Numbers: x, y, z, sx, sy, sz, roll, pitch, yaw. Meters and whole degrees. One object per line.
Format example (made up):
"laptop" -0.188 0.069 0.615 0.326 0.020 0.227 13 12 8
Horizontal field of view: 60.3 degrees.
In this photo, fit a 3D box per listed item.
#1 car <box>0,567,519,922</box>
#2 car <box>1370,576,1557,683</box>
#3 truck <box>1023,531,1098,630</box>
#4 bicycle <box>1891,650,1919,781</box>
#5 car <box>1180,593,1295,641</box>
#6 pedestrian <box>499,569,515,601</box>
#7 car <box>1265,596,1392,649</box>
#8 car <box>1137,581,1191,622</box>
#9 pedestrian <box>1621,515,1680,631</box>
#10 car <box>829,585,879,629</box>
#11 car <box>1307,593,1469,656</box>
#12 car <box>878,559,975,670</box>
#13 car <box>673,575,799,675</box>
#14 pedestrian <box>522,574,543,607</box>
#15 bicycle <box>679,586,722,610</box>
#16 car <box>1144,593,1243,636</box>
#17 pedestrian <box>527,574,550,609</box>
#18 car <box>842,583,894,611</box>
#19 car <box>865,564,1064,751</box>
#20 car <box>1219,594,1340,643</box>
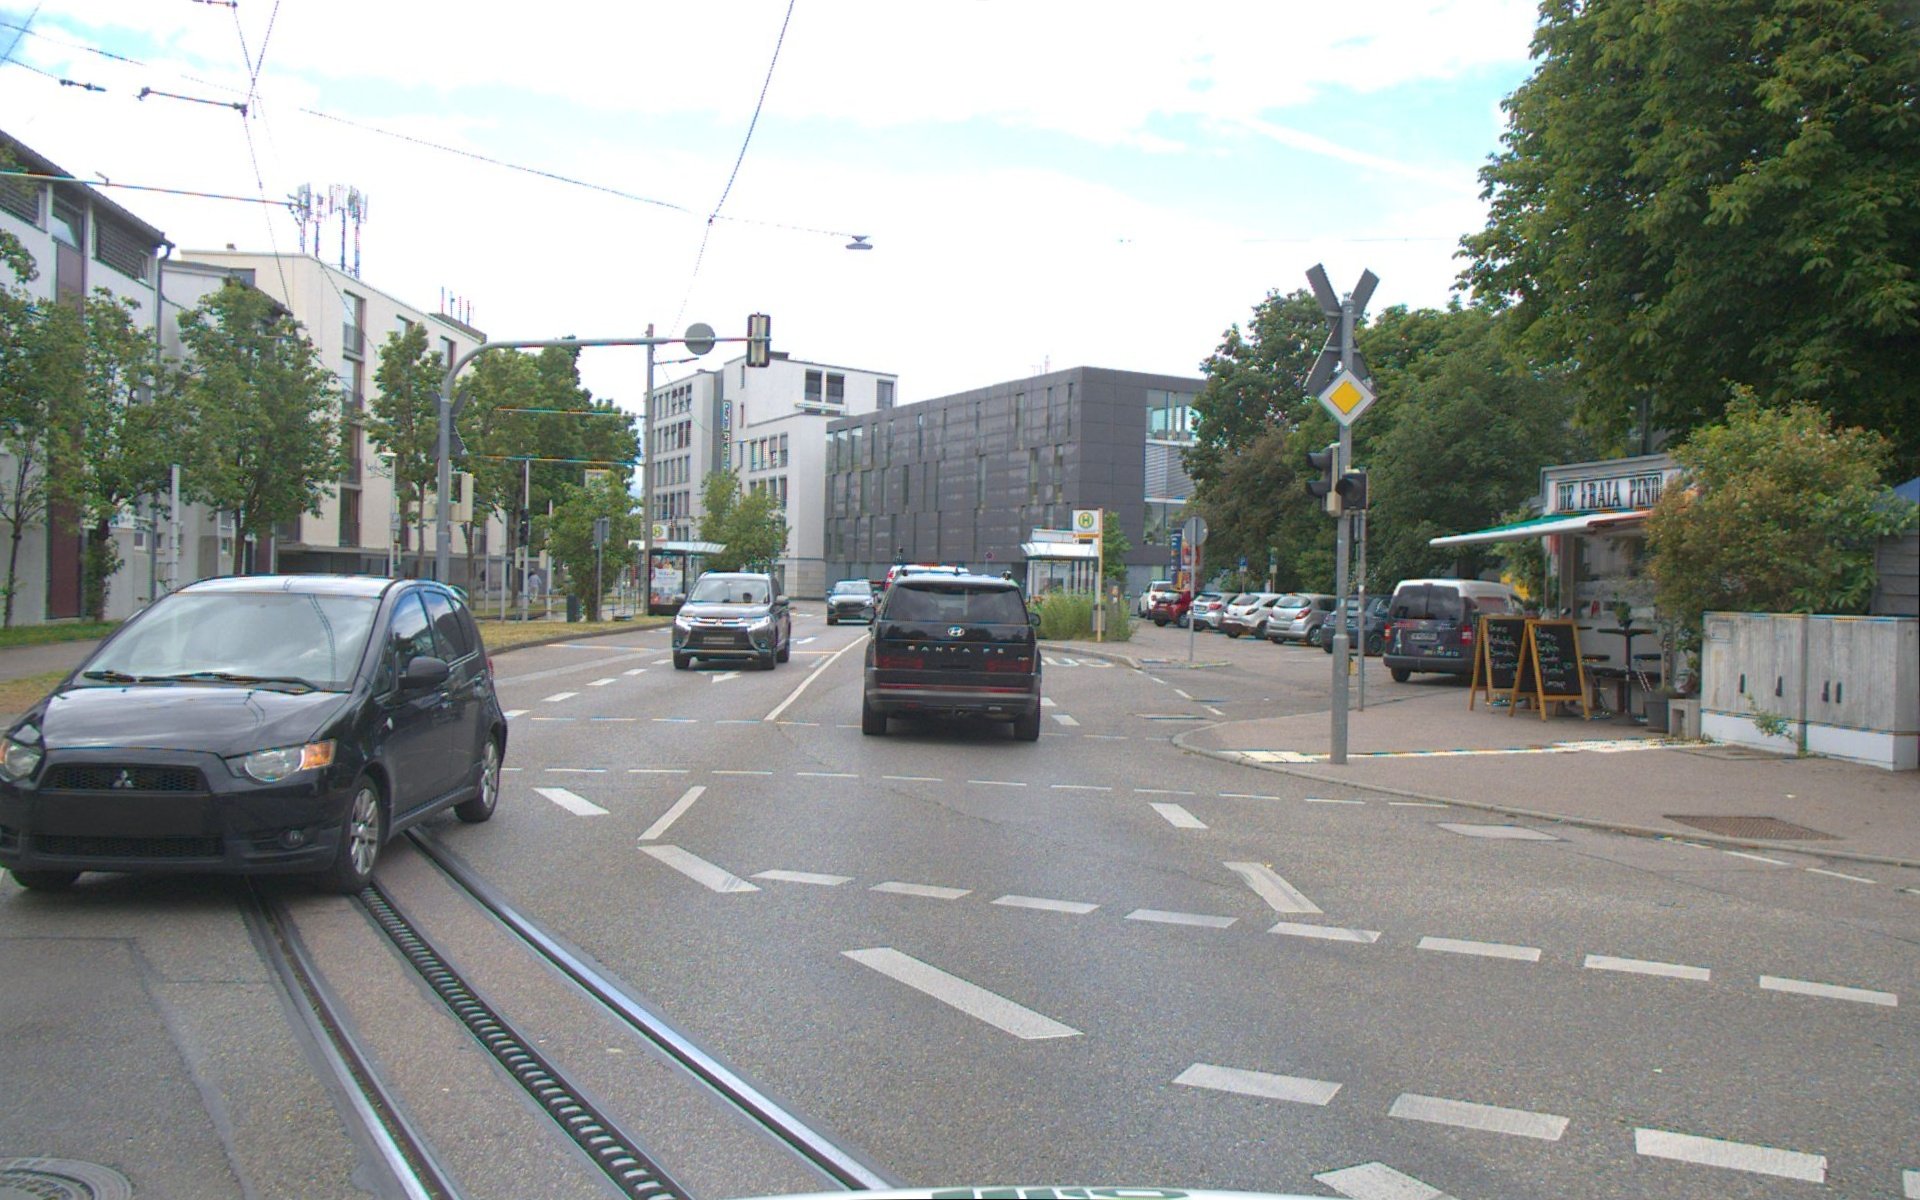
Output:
"car" -3.691 0.627 9.159 1.641 1.532 3.731 -1 0 -3
"car" 9.310 0.485 30.317 1.815 1.779 4.676 1 1 36
"truck" 3.837 -0.755 64.674 2.520 3.586 7.811 1 0 1
"bicycle" 9.127 1.114 14.467 0.538 1.158 1.873 1 4 -13
"car" 9.833 0.597 58.512 3.752 1.499 1.780 4 -1 -31
"pedestrian" -24.920 -0.840 91.026 0.601 1.724 0.785 2 -1 -1
"car" 10.587 0.621 47.462 3.471 1.402 1.531 0 2 -32
"car" 9.628 0.084 78.355 1.953 1.870 4.517 0 0 -1
"pedestrian" 10.768 -0.424 25.815 0.670 1.789 0.677 0 2 5
"car" -3.941 0.263 62.240 1.704 1.586 4.182 0 0 -1
"car" 10.988 0.638 42.416 3.949 1.503 1.859 1 0 -33
"car" -0.735 0.245 33.462 1.818 2.069 4.435 1 1 -3
"car" -3.990 0.410 30.084 1.751 1.690 4.276 0 0 -1
"pedestrian" -23.630 -0.524 91.519 0.900 1.749 0.906 1 0 -1
"bicycle" -13.229 -0.089 84.280 2.055 1.125 0.631 2 0 1
"car" 8.999 0.561 63.668 3.453 1.480 1.665 3 -1 -29
"pedestrian" -21.320 -0.414 83.588 0.900 1.749 0.906 1 0 -1
"car" -5.827 -0.186 104.260 1.824 1.706 4.342 0 0 -24
"car" -0.058 0.548 18.338 1.877 1.755 4.168 3 0 -3
"car" 10.139 0.579 52.490 3.597 1.460 1.577 -1 -1 -28
